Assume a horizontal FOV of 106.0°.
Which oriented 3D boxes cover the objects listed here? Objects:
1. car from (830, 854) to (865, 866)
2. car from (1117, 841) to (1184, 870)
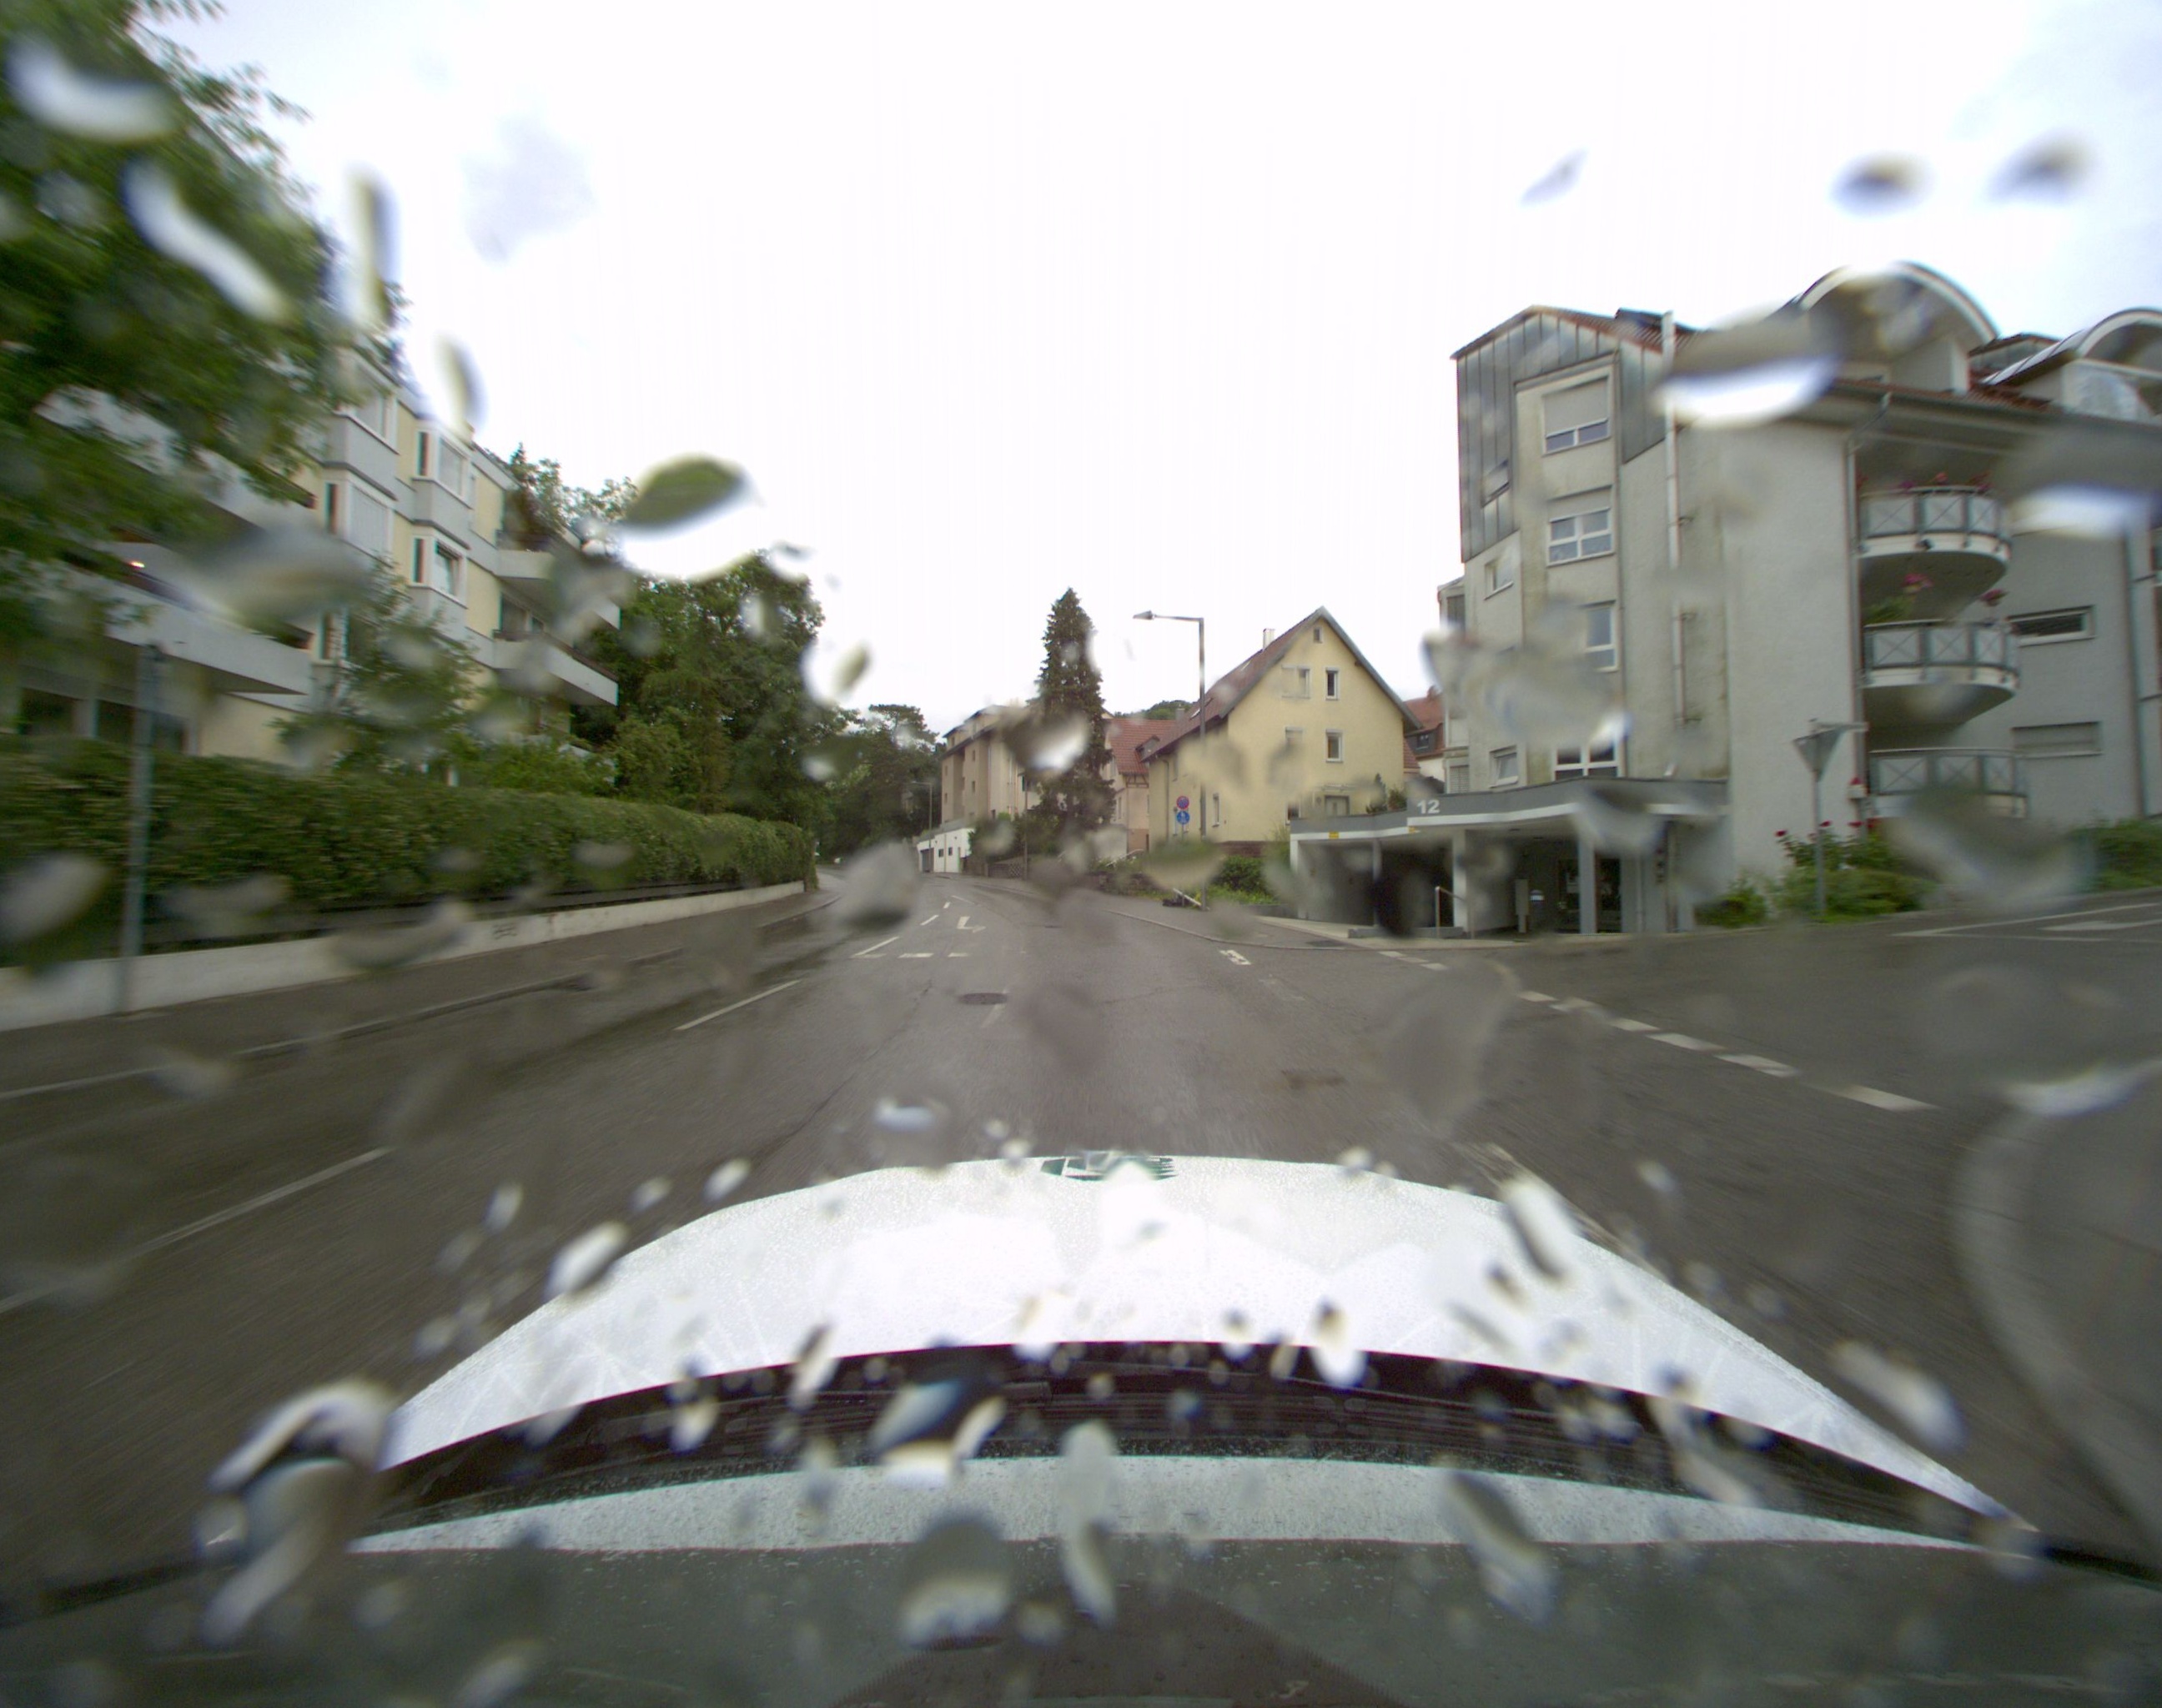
[{"bbox_3d":[-31.785,0.854,110.932,4.171,1.476,1.886,-2,1,-31],"label":"car"},{"bbox_3d":[4.484,0.115,52.633,3.857,1.653,1.954,-3,0,-13],"label":"car"}]
